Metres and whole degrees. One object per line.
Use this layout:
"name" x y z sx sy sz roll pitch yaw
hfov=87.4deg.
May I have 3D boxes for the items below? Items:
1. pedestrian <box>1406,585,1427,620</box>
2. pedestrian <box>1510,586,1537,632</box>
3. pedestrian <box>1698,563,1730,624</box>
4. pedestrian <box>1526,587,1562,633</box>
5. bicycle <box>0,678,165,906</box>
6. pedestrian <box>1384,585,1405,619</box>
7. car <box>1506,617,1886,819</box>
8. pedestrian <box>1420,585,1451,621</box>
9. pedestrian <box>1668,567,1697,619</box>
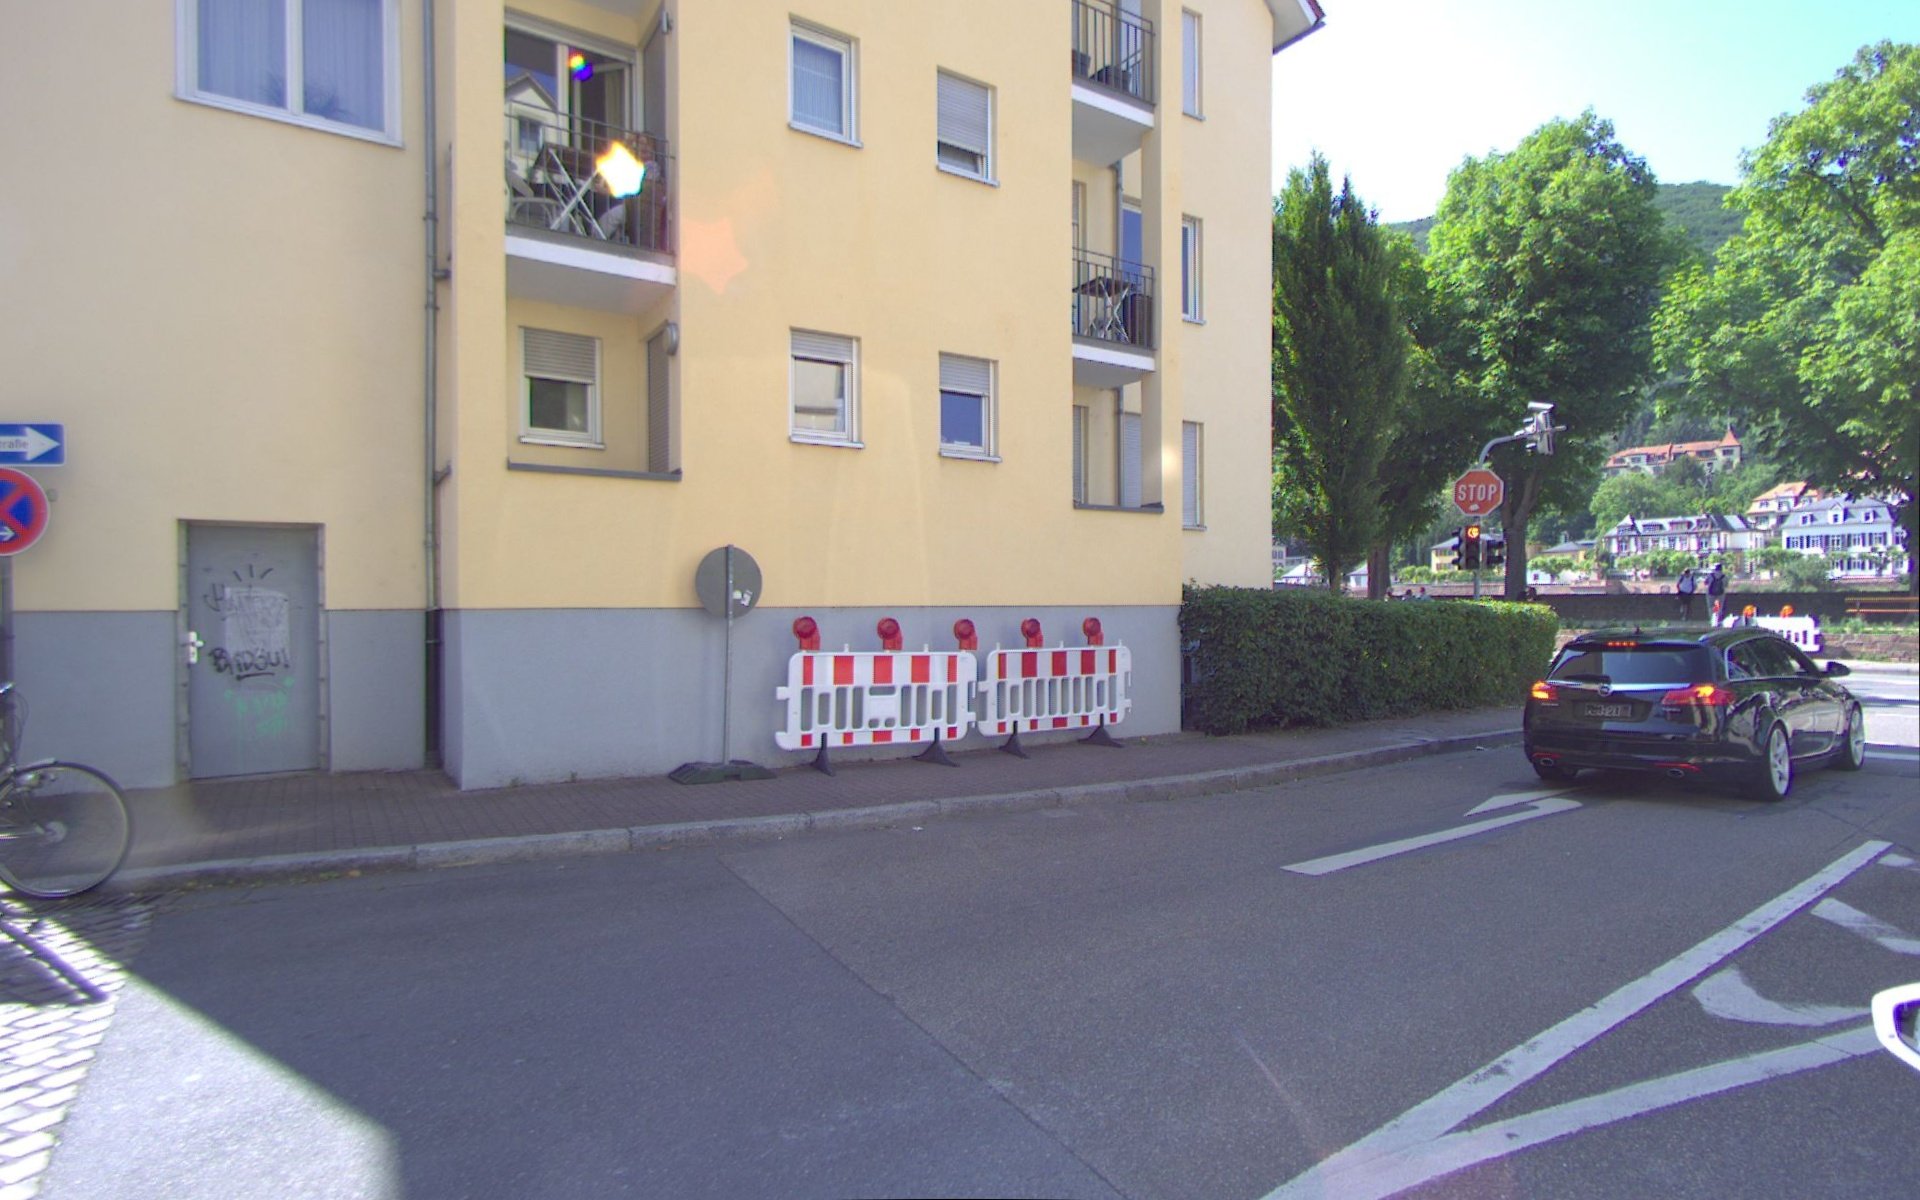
"pedestrian" 16.680 0.097 36.710 0.625 1.287 0.464 0 0 -33
"pedestrian" 18.868 0.302 33.639 0.796 1.513 0.464 0 0 -33
"pedestrian" 23.527 -0.197 31.337 0.752 1.882 0.754 1 0 36
"pedestrian" 19.370 0.322 33.324 1.370 1.499 0.464 0 0 -33
"bicycle" -5.203 0.972 5.038 1.879 1.093 0.390 0 0 -19
"pedestrian" 16.206 0.077 37.449 0.625 1.287 0.464 0 0 -33
"car" 7.208 0.942 9.650 4.681 1.481 1.701 0 -2 -38
"pedestrian" 17.234 0.110 36.429 1.211 1.287 0.464 0 0 -33
"pedestrian" 24.809 -0.226 34.475 0.700 1.755 0.752 1 0 43
